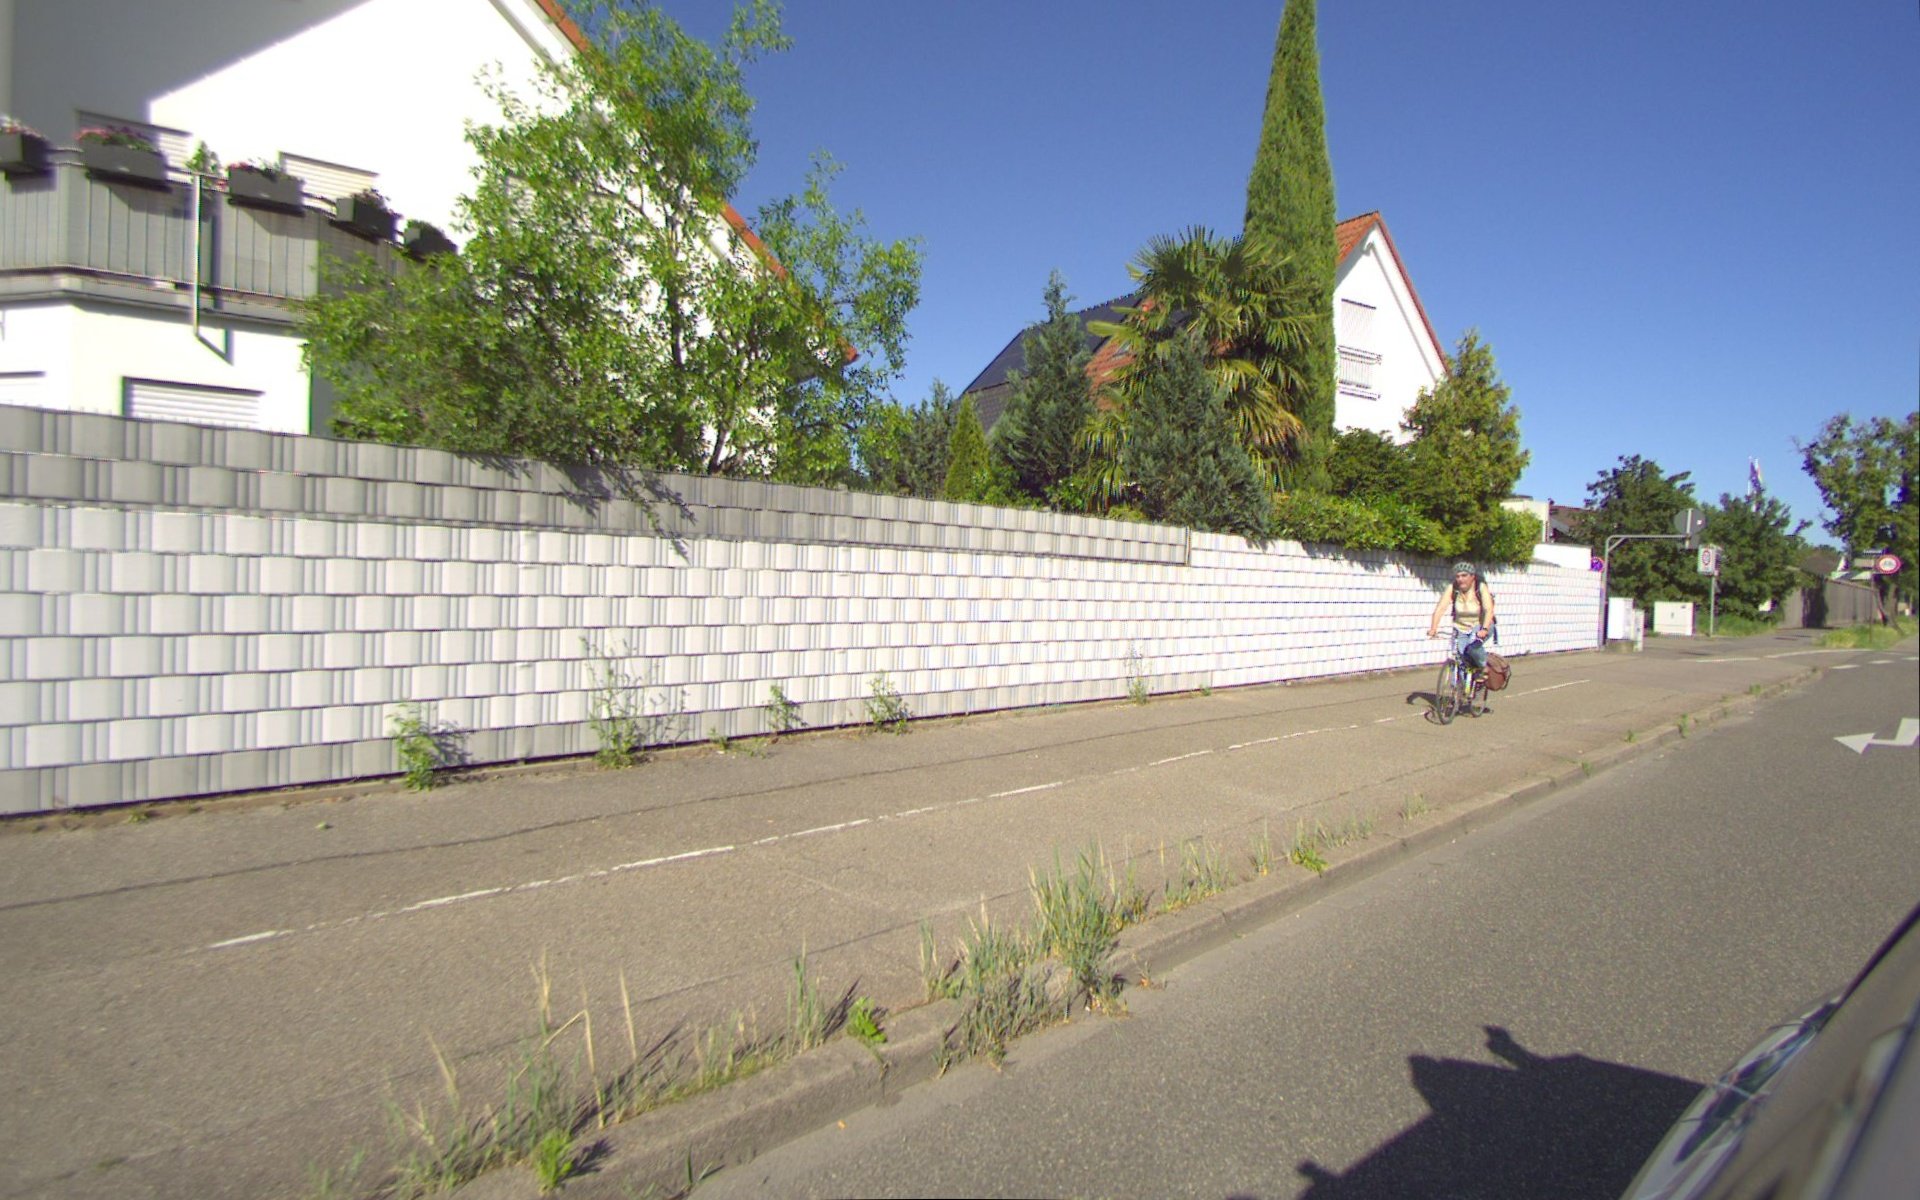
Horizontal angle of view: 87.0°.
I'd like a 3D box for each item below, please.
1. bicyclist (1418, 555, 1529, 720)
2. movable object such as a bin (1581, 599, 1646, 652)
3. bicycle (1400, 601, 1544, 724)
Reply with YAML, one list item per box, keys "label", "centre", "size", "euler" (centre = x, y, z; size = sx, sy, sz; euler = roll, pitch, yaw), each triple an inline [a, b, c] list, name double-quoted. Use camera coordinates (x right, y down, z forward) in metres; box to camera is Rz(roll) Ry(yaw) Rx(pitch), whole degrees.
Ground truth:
- label: "bicyclist"
  centre: [5.544, 0.385, 10.918]
  size: [0.965, 1.652, 0.631]
  euler: [2, 4, -42]
- label: "movable object such as a bin"
  centre: [16.331, 0.611, 25.287]
  size: [1.043, 1.219, 1.005]
  euler: [0, 3, -37]
- label: "bicycle"
  centre: [5.543, 0.639, 10.886]
  size: [2.103, 1.169, 0.575]
  euler: [1, 4, -42]
